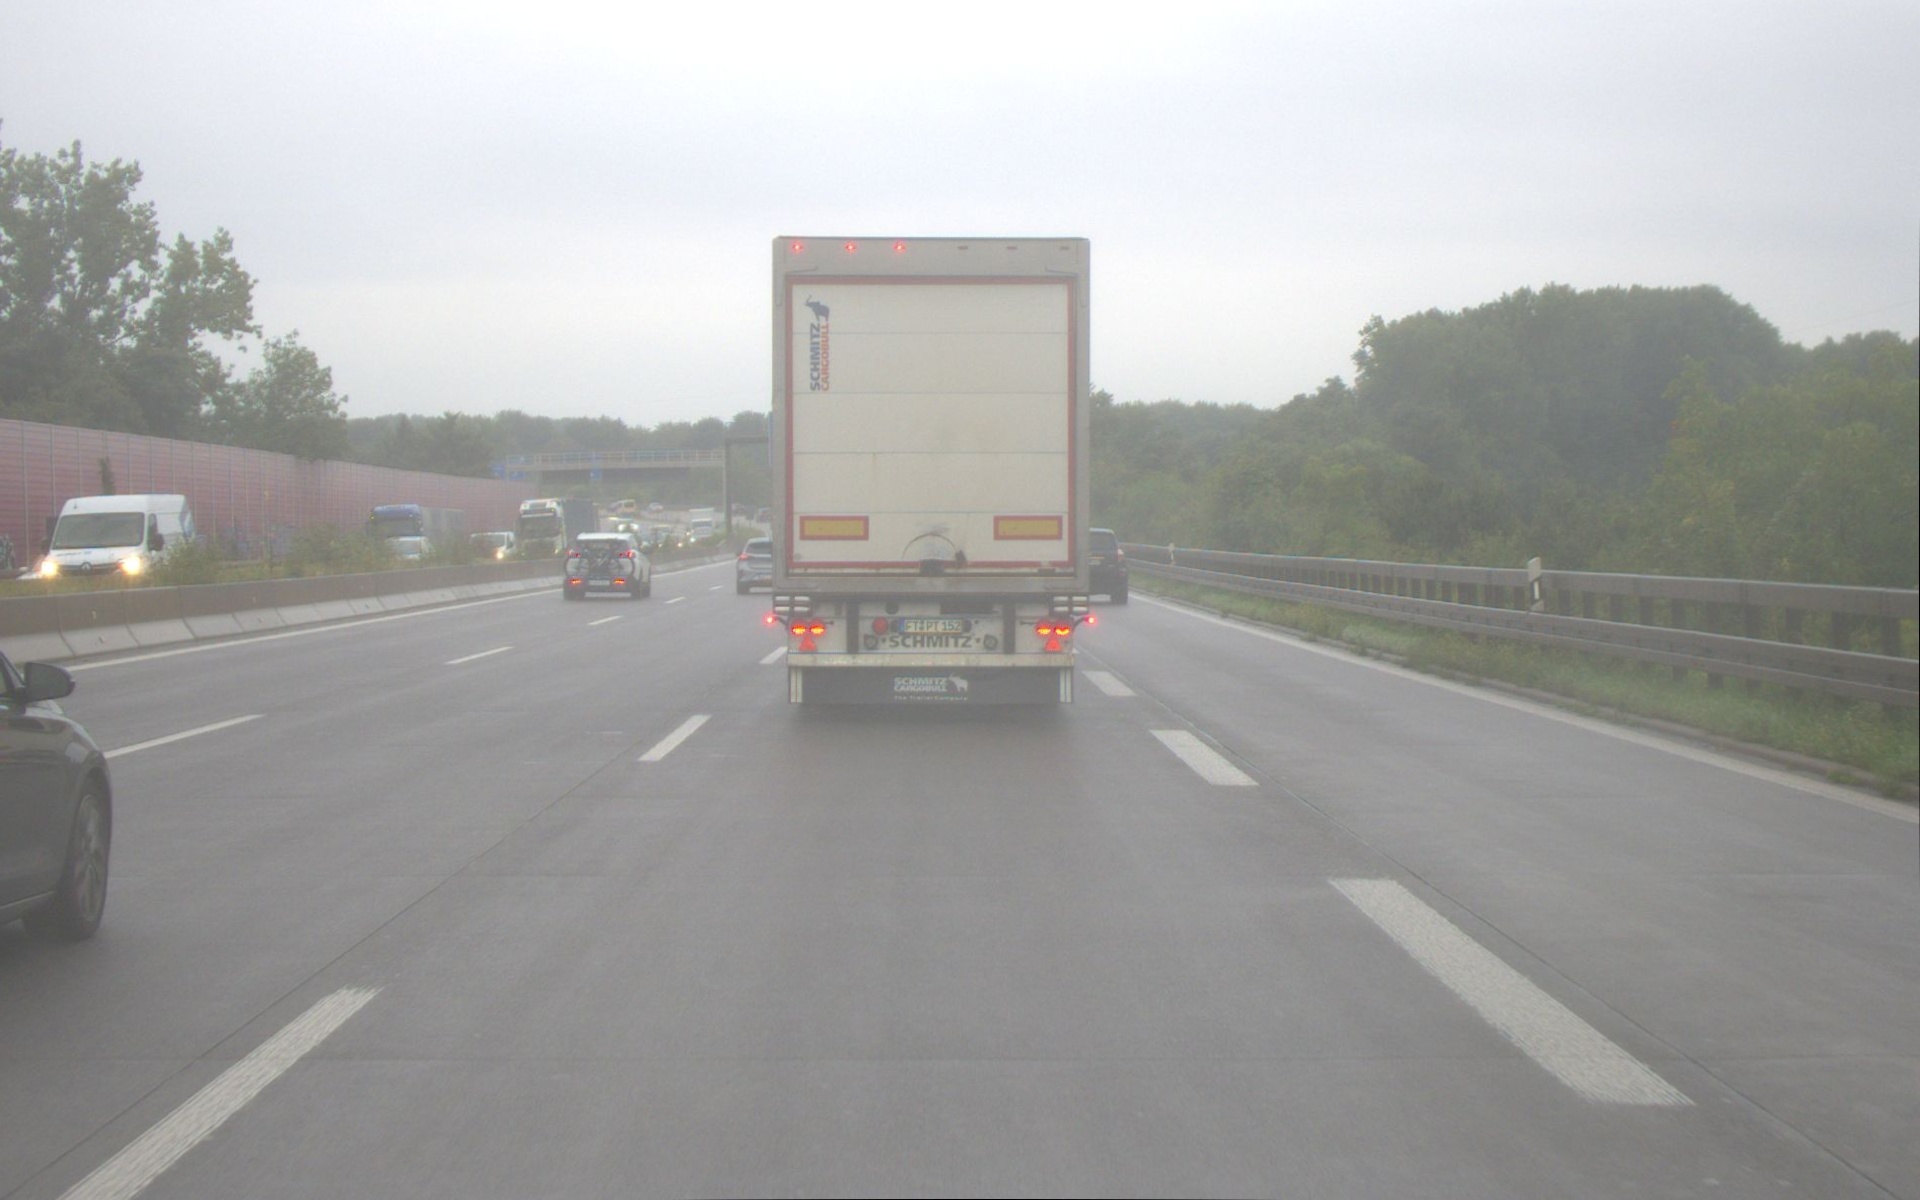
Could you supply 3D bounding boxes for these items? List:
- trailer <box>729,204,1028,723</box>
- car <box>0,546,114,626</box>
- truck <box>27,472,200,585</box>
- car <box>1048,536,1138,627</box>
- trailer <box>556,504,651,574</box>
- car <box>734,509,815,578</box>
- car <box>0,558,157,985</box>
[{"bbox_3d":[-0.723,-1.243,35.070,2.342,4.143,14.828,1,1,-1],"label":"trailer"},{"bbox_3d":[-20.675,-0.352,77.735,1.993,1.733,4.467,0,1,0],"label":"car"},{"bbox_3d":[-17.006,-1.445,69.357,2.145,2.198,5.419,0,1,0],"label":"truck"},{"bbox_3d":[2.966,-0.447,77.393,1.897,1.943,4.000,1,1,1],"label":"car"},{"bbox_3d":[-8.442,-1.473,81.683,1.815,1.619,4.568,0,2,0],"label":"trailer"},{"bbox_3d":[-4.769,-1.471,88.874,1.894,1.717,4.000,1,1,-1],"label":"car"},{"bbox_3d":[-4.053,0.580,11.350,1.725,1.398,4.829,0,1,-1],"label":"car"}]
